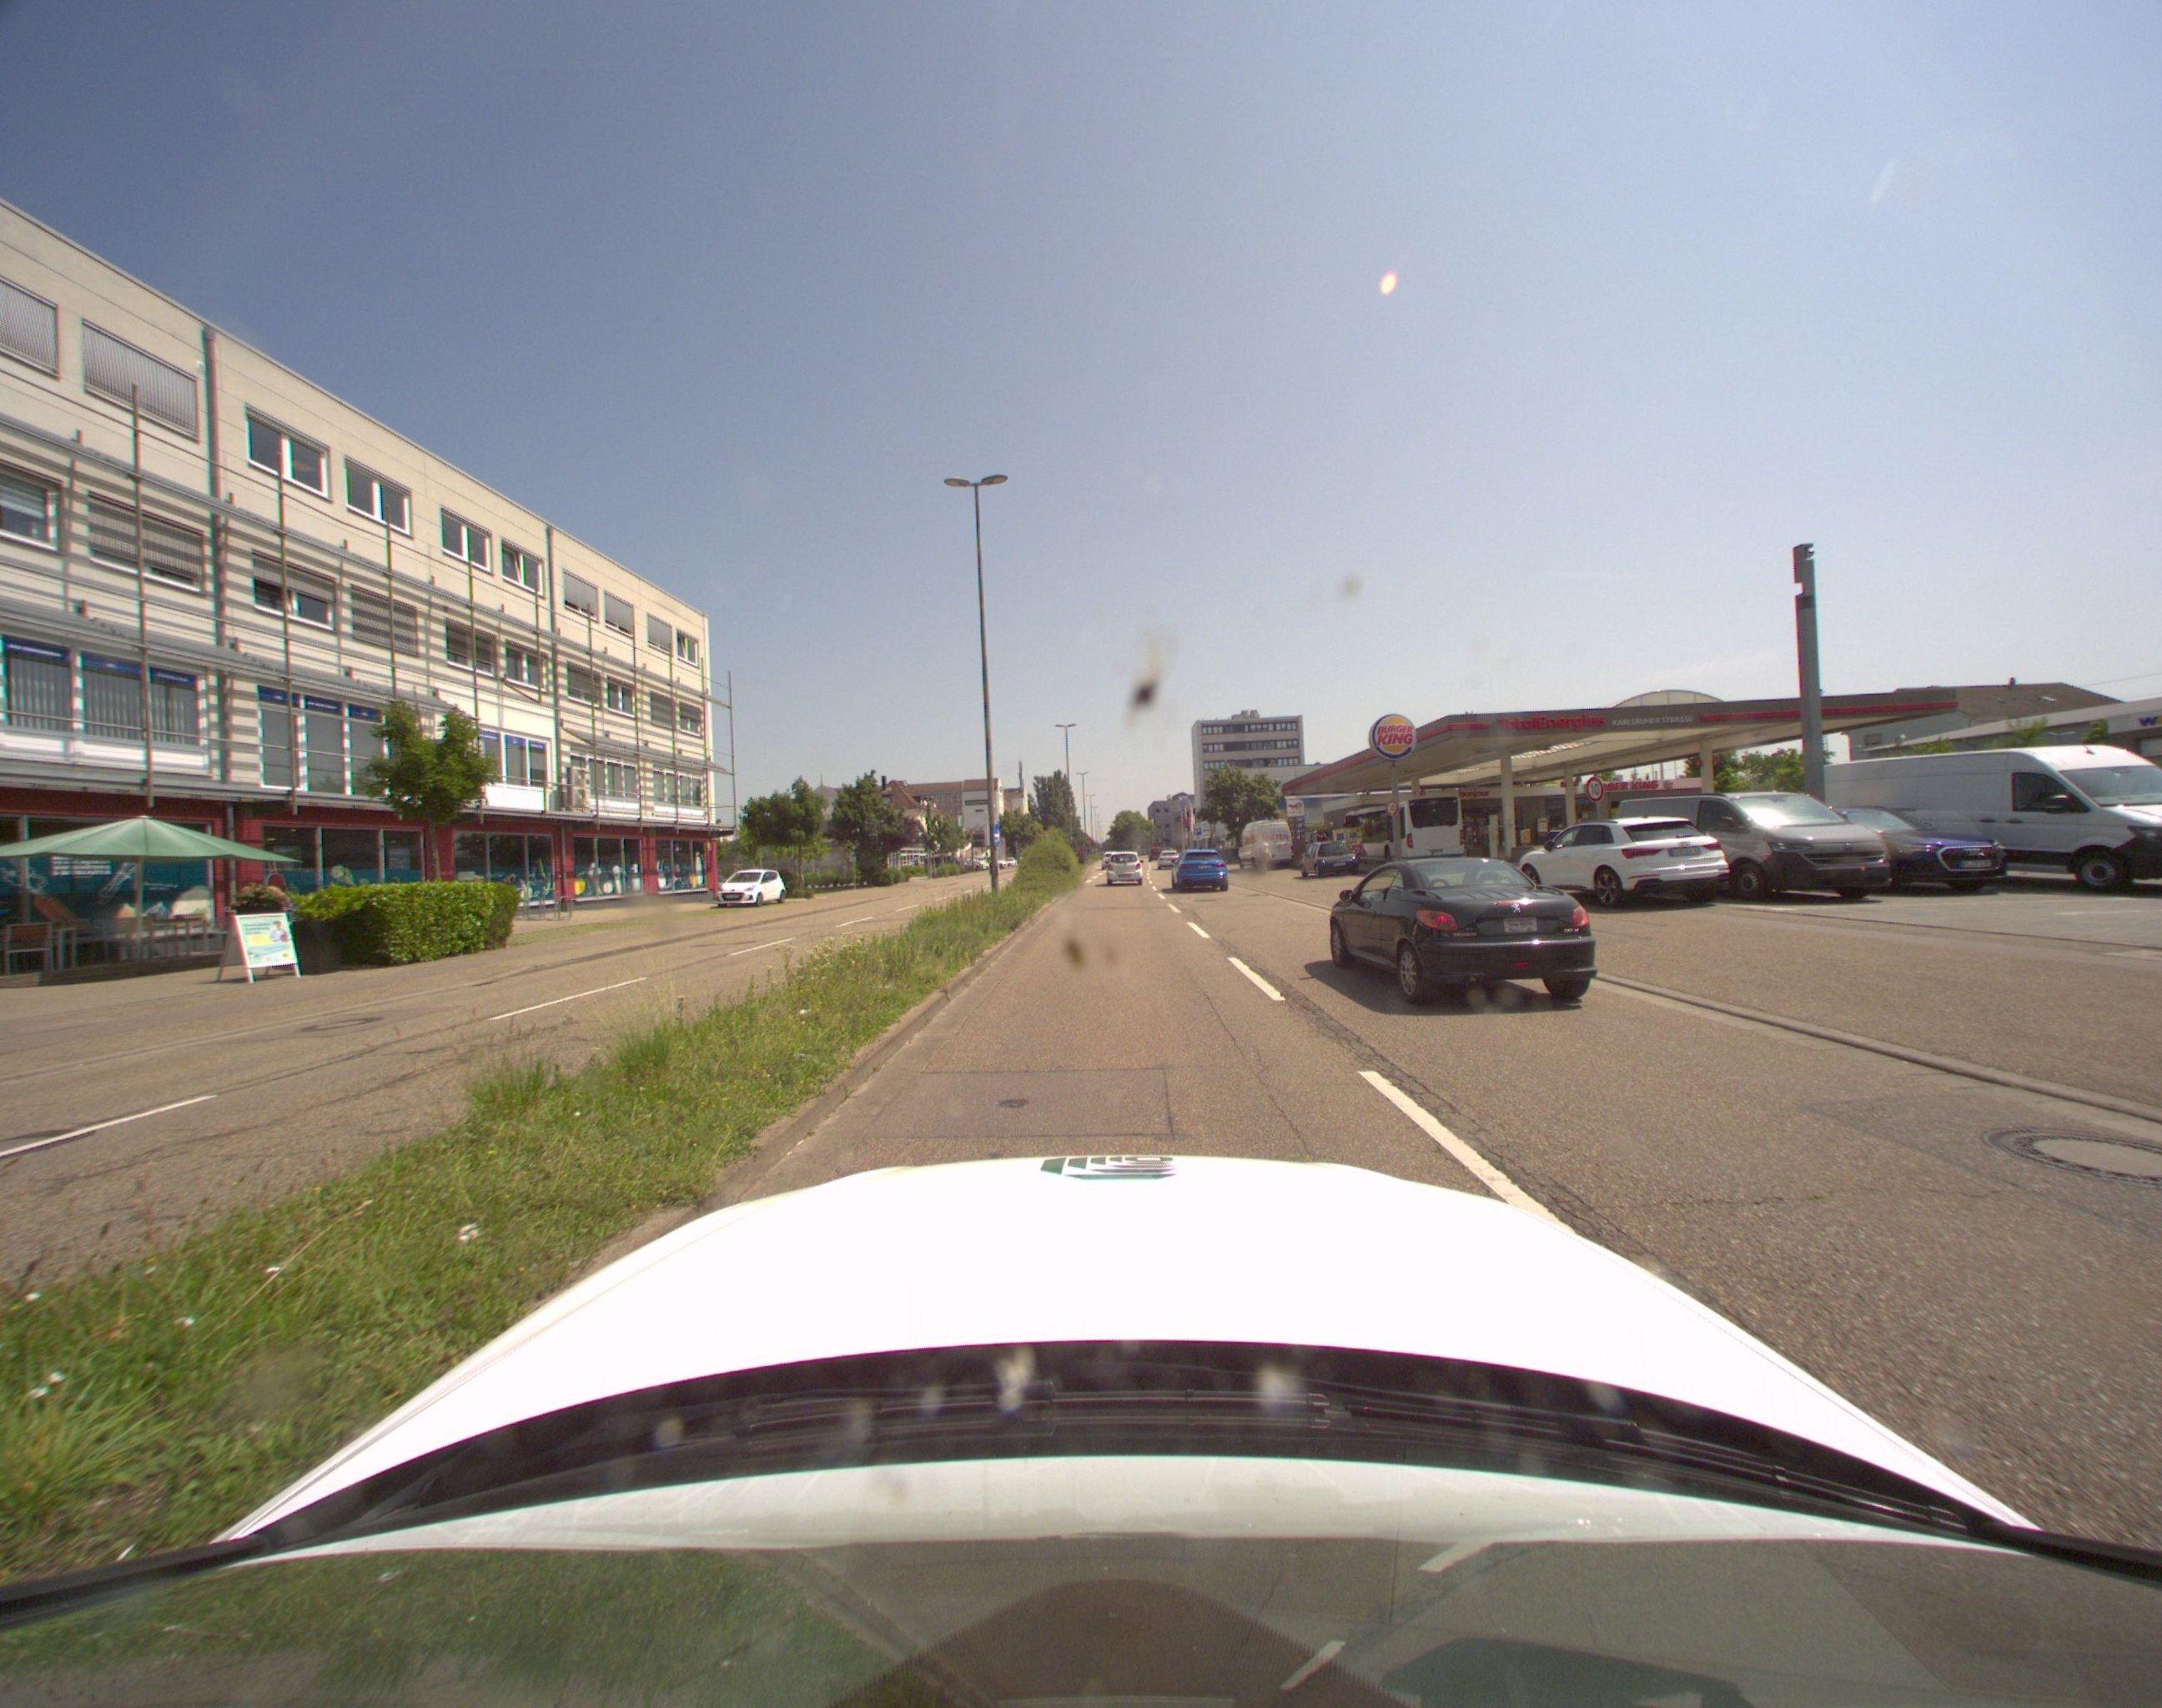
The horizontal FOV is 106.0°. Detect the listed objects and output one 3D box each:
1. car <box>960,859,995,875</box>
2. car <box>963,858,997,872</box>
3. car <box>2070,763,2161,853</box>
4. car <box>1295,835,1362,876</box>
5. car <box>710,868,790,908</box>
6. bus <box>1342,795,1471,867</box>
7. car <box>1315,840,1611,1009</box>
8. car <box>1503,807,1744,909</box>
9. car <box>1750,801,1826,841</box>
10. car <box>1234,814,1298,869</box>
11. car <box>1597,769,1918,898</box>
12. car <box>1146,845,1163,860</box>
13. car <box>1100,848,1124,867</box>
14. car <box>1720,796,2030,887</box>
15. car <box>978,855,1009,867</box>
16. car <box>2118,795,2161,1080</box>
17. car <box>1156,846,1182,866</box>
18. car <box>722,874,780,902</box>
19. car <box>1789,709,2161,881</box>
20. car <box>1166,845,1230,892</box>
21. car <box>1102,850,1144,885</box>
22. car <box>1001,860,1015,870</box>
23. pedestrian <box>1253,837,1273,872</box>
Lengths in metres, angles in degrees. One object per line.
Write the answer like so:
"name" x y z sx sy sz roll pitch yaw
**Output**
"car" -12.677 1.605 99.906 3.975 1.684 1.999 -2 -2 -1
"car" -12.989 1.430 104.685 4.005 1.731 1.892 -1 -2 -24
"car" 23.259 -0.972 15.987 1.729 1.865 4.797 -4 2 -3
"car" 10.311 0.072 34.211 1.651 1.519 3.821 -4 0 2
"car" -13.729 1.388 34.012 1.673 1.494 4.041 -2 -1 0
"bus" 16.473 -1.143 42.431 2.791 3.078 12.304 -2 1 5
"car" 3.897 0.634 9.030 1.594 1.425 3.662 -2 0 1
"car" 10.314 0.058 15.995 1.661 1.596 4.614 -4 0 1
"car" 37.573 -1.702 43.254 4.014 1.886 1.913 0 -3 -33
"car" 10.704 -0.665 47.714 2.125 2.839 7.312 -5 0 2
"car" 12.685 -0.316 15.895 1.986 2.023 5.161 -2 -1 1
"car" 9.458 -0.190 105.065 1.789 1.729 3.971 -2 -2 0
"car" 2.616 0.328 67.082 1.822 1.450 4.004 -2 -2 4
"car" 15.289 -0.216 16.141 1.737 1.513 4.602 -1 0 2
"car" -12.209 0.951 113.268 3.969 1.552 1.867 -2 -2 4
"car" 6.824 0.413 2.540 1.729 1.552 4.175 -2 0 -3
"car" 6.694 0.161 62.230 1.660 1.399 3.795 -2 -1 3
"car" -20.249 2.058 50.147 1.762 1.547 4.002 -3 -2 3
"car" 18.131 -0.986 16.069 2.247 2.675 7.021 -4 0 2
"car" 4.376 0.485 31.119 1.905 1.597 4.398 -2 1 2
"car" 1.903 0.611 37.785 1.707 1.511 3.246 -2 -1 0
"car" -11.210 1.755 125.404 1.897 1.354 3.995 -2 -2 -3
"pedestrian" 9.352 0.037 41.880 0.812 1.749 0.703 -2 -1 1
